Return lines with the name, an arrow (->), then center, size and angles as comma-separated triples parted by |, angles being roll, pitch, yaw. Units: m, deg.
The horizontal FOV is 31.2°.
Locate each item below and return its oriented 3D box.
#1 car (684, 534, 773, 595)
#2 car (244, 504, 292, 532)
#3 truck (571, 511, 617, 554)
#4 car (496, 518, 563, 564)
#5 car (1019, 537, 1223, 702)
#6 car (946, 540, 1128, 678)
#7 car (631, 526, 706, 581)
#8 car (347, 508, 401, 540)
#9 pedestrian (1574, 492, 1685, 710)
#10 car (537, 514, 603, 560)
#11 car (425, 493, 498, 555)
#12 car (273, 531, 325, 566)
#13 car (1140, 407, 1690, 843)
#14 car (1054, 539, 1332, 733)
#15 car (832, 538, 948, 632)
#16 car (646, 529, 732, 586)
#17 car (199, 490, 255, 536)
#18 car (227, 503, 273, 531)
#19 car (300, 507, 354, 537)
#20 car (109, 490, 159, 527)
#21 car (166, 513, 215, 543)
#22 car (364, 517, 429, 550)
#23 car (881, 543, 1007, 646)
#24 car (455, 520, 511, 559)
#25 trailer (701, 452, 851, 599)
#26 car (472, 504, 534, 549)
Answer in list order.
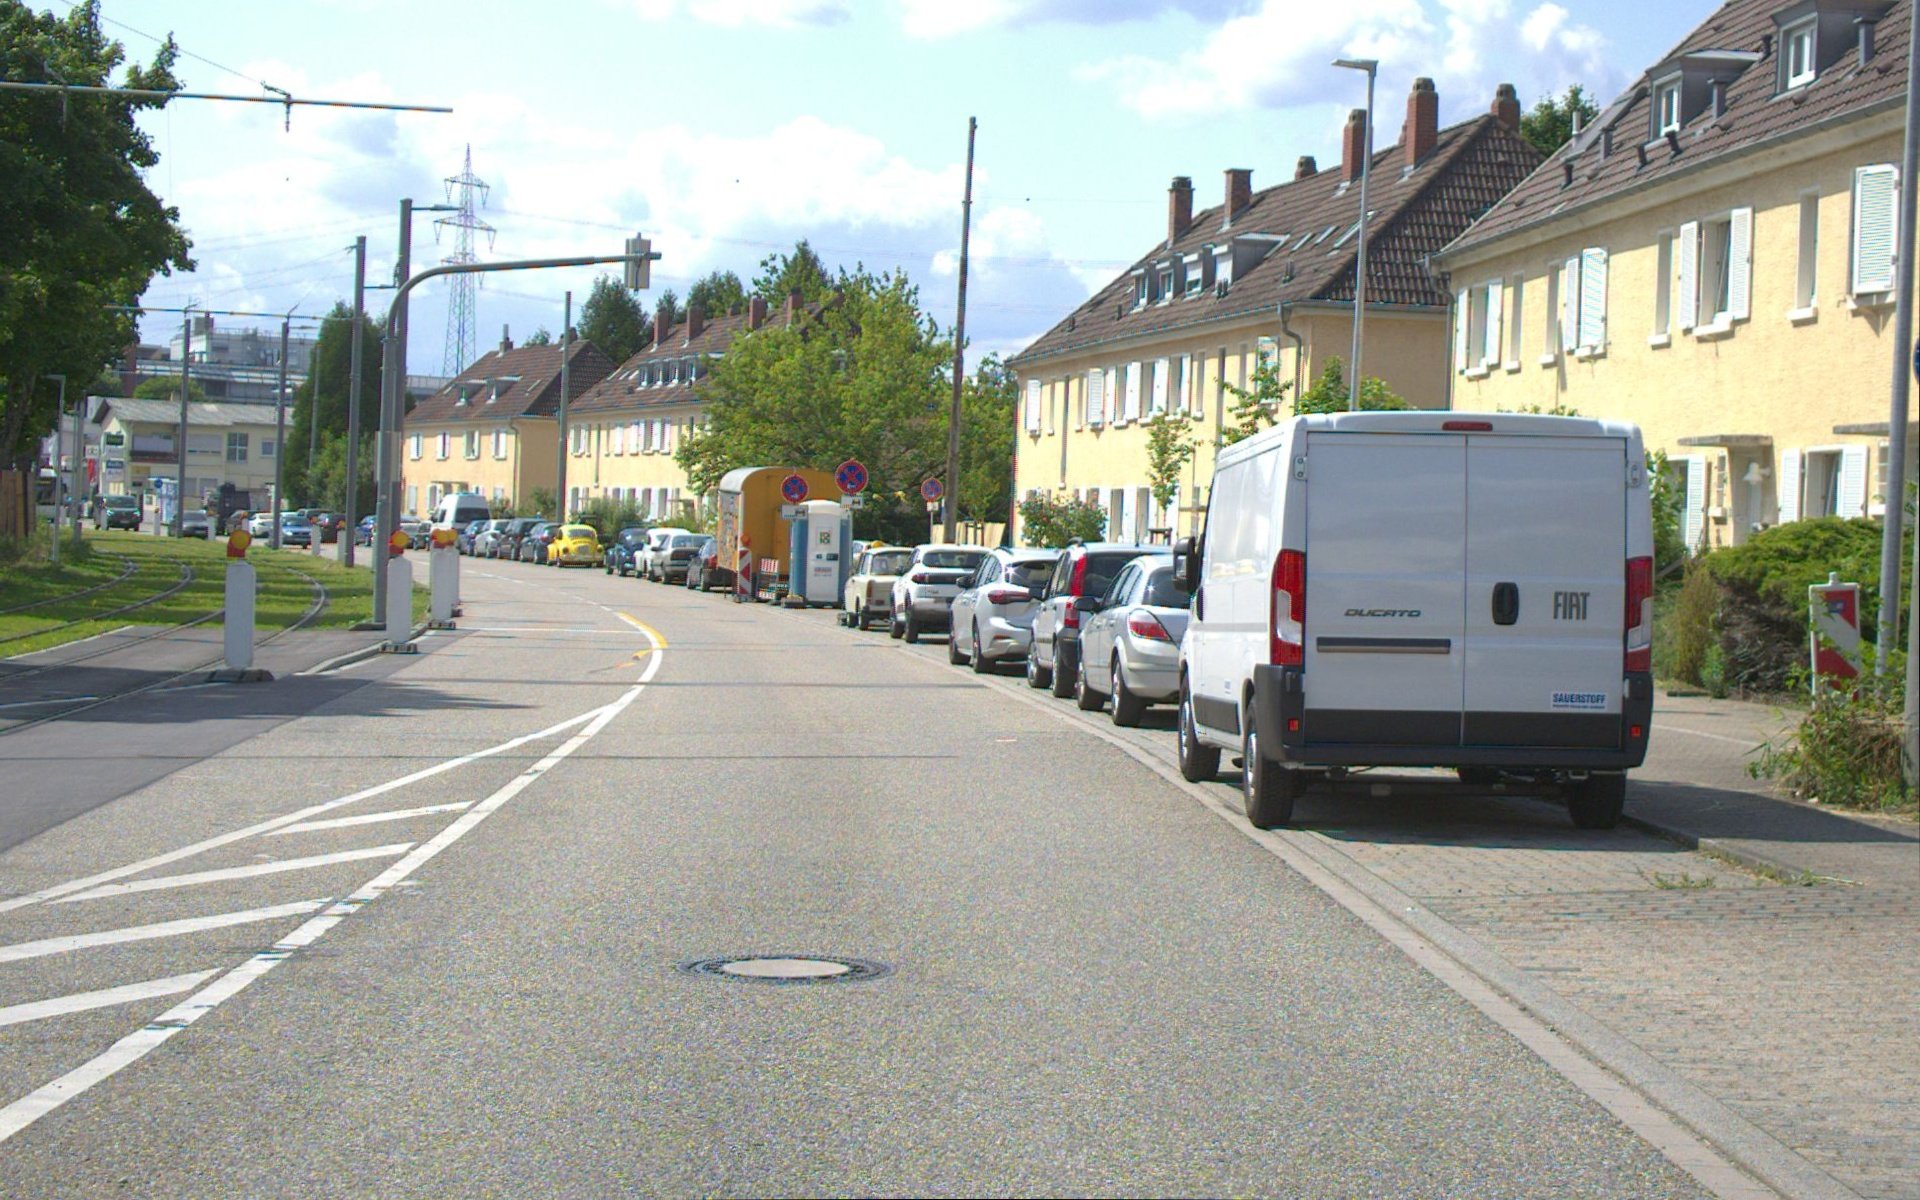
car -> -6.001, -0.932, 88.707 | 1.577, 1.444, 4.455 | 2, 1, -12
car -> -36.733, -4.359, 182.561 | 1.763, 1.434, 4.001 | 0, 2, -22
truck -> -15.085, -2.780, 141.458 | 1.346, 1.683, 2.442 | 2, 1, -18
car -> -16.137, -2.215, 128.751 | 1.635, 1.597, 3.933 | 2, 1, -20
car -> 1.579, 0.151, 34.887 | 1.628, 1.544, 3.810 | 1, 1, -4
car -> 0.853, 0.066, 40.642 | 1.749, 1.492, 4.386 | 1, 1, -4
car -> -8.626, -1.380, 101.421 | 1.577, 1.507, 4.461 | 2, 1, -12
car -> -27.137, -3.526, 159.160 | 1.620, 1.412, 4.001 | 0, 2, -22
pedestrian -> 6.288, 0.003, 32.333 | 0.772, 2.007, 0.762 | 2, 1, -4
car -> -13.427, -2.192, 118.330 | 1.636, 1.477, 3.933 | -1, 3, -16
car -> -20.628, -3.151, 142.196 | 1.929, 2.472, 5.519 | 1, 1, -19
car -> -28.092, -2.196, 146.103 | 1.665, 1.444, 3.961 | -1, 2, -18
car -> 2.504, 0.067, 20.839 | 2.276, 2.175, 6.368 | 2, 1, -1
car -> 1.948, 0.257, 29.920 | 1.707, 1.499, 4.256 | 2, 1, -5
car -> -1.230, -0.280, 58.792 | 1.463, 1.497, 4.110 | 1, 1, -8
car -> -7.627, -1.207, 96.423 | 1.706, 1.444, 4.837 | 2, 1, -12
car -> -41.154, -4.893, 192.931 | 1.959, 2.470, 6.062 | 0, 2, -23
car -> -38.670, -4.535, 187.224 | 1.763, 1.497, 4.001 | 0, 2, -22
car -> -30.861, -3.821, 167.512 | 1.763, 1.412, 4.001 | 0, 2, -22
car -> -45.635, -5.047, 189.803 | 1.955, 1.959, 5.294 | 1, 1, -21
car -> -38.032, -3.580, 169.864 | 1.724, 1.384, 4.123 | 2, 1, -21
car -> -25.306, -2.970, 154.286 | 1.798, 1.453, 4.767 | 0, 1, -23
car -> -0.278, -0.116, 52.551 | 1.527, 1.476, 3.810 | 1, 1, -6
car -> -19.032, -2.436, 137.089 | 1.535, 1.440, 3.738 | 2, 1, -18
trailer -> -4.350, -1.746, 80.366 | 2.689, 3.215, 5.083 | 2, 1, -11
car -> -17.631, -2.851, 132.464 | 1.635, 1.597, 4.031 | 2, 1, -18
